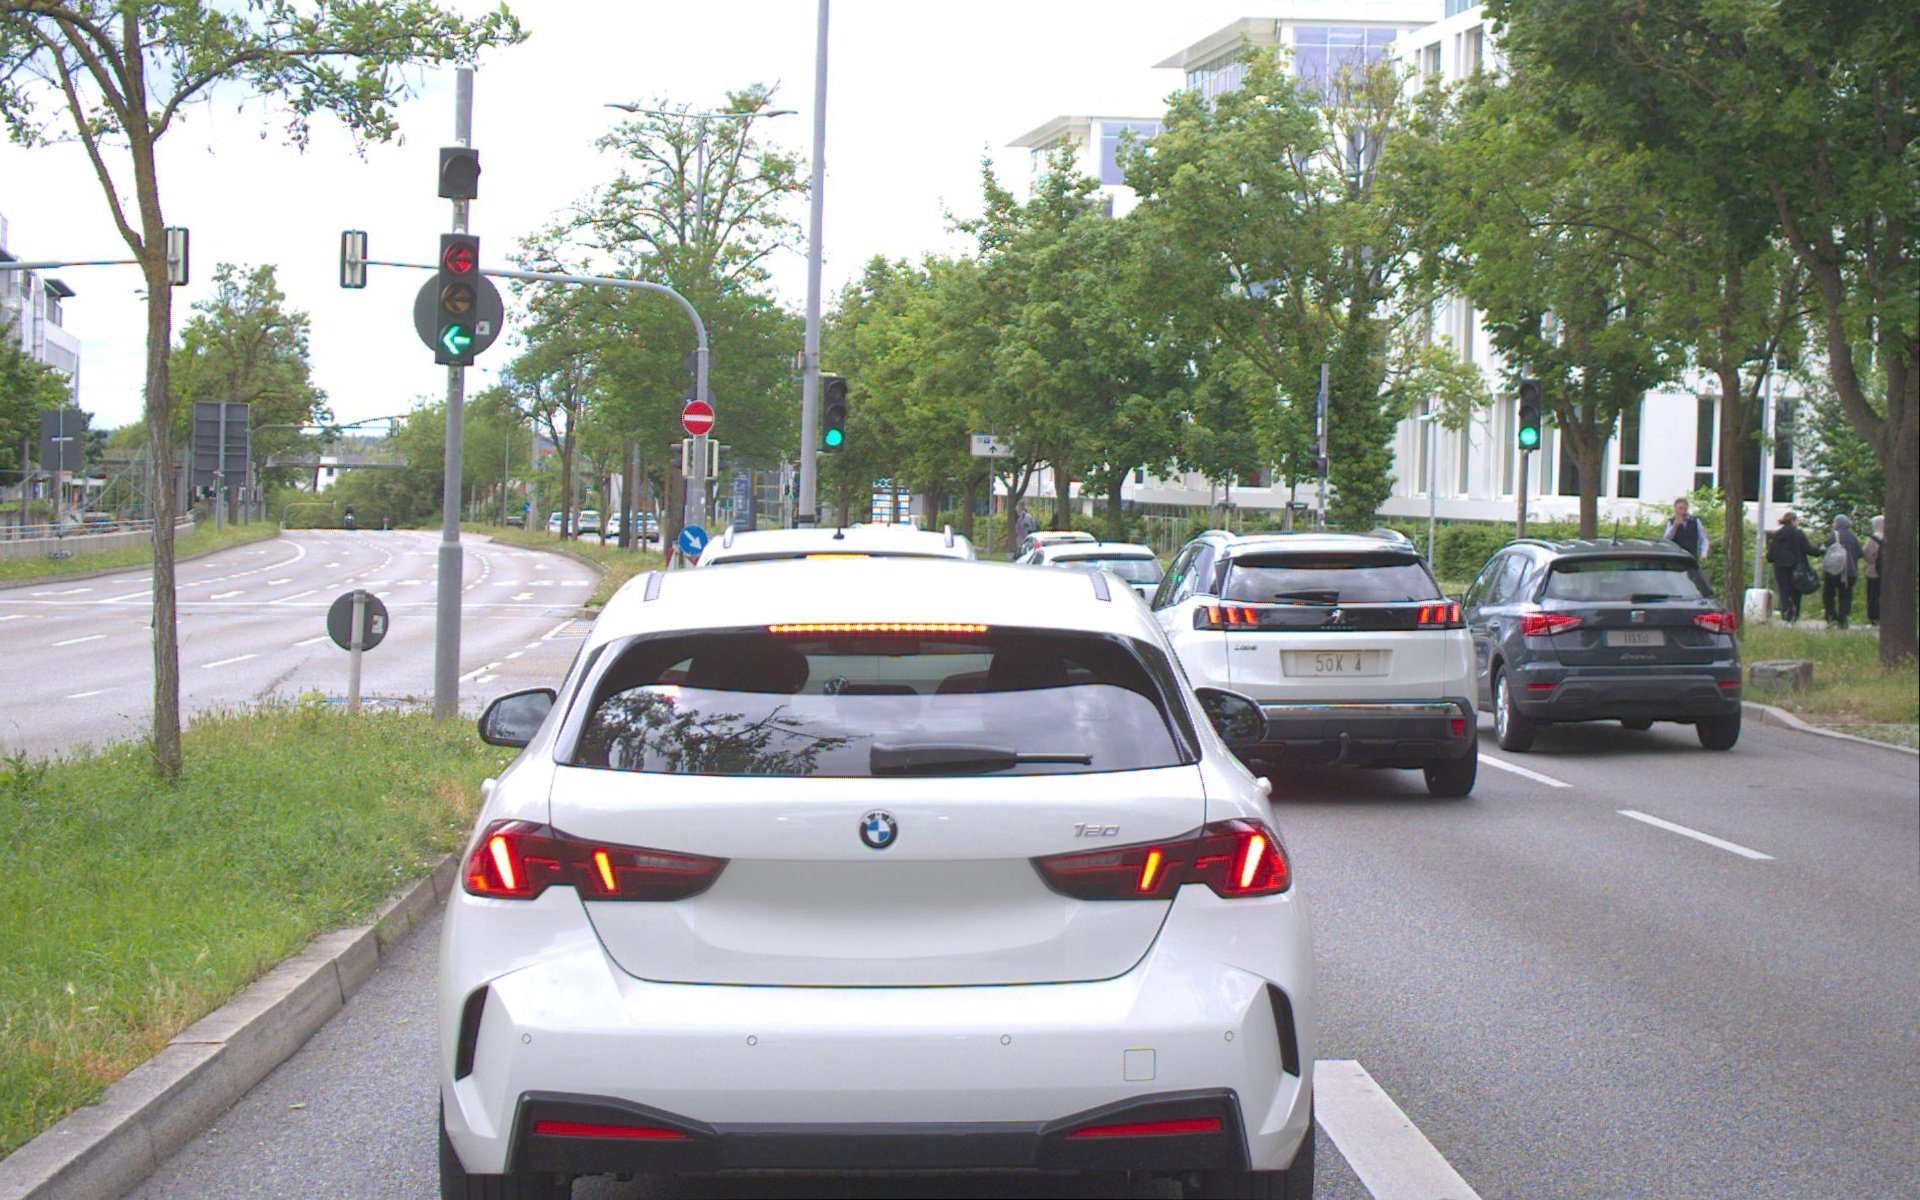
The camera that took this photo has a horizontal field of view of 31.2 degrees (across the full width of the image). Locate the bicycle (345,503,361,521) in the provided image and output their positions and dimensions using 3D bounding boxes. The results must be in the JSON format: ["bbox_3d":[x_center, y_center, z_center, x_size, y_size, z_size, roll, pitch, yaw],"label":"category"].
[{"bbox_3d":[-38.993,-5.673,220.790,0.810,1.100,2.557,1,1,-15],"label":"bicycle"}]

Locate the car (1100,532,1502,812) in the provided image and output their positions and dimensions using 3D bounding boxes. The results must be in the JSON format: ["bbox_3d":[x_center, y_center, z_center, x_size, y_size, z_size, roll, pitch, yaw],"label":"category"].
[{"bbox_3d":[2.030,0.369,21.692,1.854,1.590,4.314,0,1,-3],"label":"car"}]

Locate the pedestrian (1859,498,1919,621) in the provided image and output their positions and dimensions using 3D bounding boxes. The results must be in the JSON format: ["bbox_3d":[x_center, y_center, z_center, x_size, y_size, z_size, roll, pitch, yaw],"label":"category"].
[{"bbox_3d":[12.935,-0.559,47.496,0.767,1.679,0.883,1,0,-1],"label":"pedestrian"}]

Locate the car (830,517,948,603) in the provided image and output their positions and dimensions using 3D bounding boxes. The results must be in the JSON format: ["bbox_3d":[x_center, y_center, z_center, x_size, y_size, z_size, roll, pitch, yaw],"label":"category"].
[{"bbox_3d":[-1.431,-0.811,67.451,1.891,1.590,4.315,1,1,-6],"label":"car"}]

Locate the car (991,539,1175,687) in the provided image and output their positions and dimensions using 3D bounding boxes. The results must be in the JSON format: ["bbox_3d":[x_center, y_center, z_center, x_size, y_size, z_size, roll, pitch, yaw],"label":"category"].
[{"bbox_3d":[1.266,0.103,36.825,1.605,1.463,3.676,1,1,-3],"label":"car"}]

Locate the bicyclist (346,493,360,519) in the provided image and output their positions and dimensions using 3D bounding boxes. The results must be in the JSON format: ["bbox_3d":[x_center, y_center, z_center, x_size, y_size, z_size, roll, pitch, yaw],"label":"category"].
[{"bbox_3d":[-39.005,-6.013,220.840,0.810,1.647,1.189,1,0,-15],"label":"bicyclist"}]

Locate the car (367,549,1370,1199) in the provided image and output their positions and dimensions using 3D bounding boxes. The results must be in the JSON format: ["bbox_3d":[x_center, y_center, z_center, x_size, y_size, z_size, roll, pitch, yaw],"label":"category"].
[{"bbox_3d":[-0.194,0.621,8.338,1.822,1.433,4.000,1,1,-1],"label":"car"}]

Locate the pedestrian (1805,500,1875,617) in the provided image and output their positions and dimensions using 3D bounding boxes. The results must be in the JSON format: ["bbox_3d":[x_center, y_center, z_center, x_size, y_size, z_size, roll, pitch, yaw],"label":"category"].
[{"bbox_3d":[12.158,-0.570,47.510,0.699,1.590,0.883,1,0,-1],"label":"pedestrian"}]

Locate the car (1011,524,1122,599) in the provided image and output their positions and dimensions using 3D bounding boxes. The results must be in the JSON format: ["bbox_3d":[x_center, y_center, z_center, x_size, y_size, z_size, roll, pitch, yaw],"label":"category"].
[{"bbox_3d":[2.055,-0.773,66.982,1.653,1.420,3.536,0,1,-7],"label":"car"}]

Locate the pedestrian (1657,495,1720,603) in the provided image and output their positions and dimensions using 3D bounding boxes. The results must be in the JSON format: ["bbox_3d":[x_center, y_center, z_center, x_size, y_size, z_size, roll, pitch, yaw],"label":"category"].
[{"bbox_3d":[10.680,-0.747,50.409,0.741,1.568,0.674,1,0,-1],"label":"pedestrian"}]

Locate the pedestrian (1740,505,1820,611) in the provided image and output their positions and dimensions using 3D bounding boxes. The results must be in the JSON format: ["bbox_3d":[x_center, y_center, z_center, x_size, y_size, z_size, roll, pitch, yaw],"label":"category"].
[{"bbox_3d":[11.336,-0.581,47.545,0.789,1.443,1.112,1,0,-1],"label":"pedestrian"}]

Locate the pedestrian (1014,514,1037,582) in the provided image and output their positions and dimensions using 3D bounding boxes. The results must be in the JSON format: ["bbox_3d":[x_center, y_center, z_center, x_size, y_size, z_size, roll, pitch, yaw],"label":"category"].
[{"bbox_3d":[2.551,-2.025,134.014,0.831,2.618,0.646,1,1,-1],"label":"pedestrian"}]

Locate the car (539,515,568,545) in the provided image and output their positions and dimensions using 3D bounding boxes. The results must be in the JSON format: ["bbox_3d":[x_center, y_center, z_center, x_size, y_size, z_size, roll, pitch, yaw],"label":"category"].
[{"bbox_3d":[-24.531,-4.216,207.216,1.695,1.711,4.001,1,1,-7],"label":"car"}]

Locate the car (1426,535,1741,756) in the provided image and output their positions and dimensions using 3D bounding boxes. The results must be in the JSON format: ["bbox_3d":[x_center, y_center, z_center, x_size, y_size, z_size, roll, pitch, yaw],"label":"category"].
[{"bbox_3d":[4.637,0.283,26.075,1.657,1.507,4.000,1,1,0],"label":"car"}]

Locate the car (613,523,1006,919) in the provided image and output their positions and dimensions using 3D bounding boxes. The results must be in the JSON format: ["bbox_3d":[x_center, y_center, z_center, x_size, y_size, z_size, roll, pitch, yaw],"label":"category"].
[{"bbox_3d":[-0.631,0.450,15.856,1.549,1.563,4.000,1,1,-1],"label":"car"}]

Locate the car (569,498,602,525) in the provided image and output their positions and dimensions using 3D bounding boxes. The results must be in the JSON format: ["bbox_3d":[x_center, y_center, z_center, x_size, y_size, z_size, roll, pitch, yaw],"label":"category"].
[{"bbox_3d":[-25.208,-5.960,231.230,1.993,1.726,4.001,1,1,-10],"label":"car"}]

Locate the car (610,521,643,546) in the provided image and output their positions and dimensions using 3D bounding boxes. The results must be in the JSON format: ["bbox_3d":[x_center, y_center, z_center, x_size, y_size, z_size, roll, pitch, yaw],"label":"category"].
[{"bbox_3d":[-20.106,-4.000,207.161,1.692,1.481,3.694,1,1,-9],"label":"car"}]
